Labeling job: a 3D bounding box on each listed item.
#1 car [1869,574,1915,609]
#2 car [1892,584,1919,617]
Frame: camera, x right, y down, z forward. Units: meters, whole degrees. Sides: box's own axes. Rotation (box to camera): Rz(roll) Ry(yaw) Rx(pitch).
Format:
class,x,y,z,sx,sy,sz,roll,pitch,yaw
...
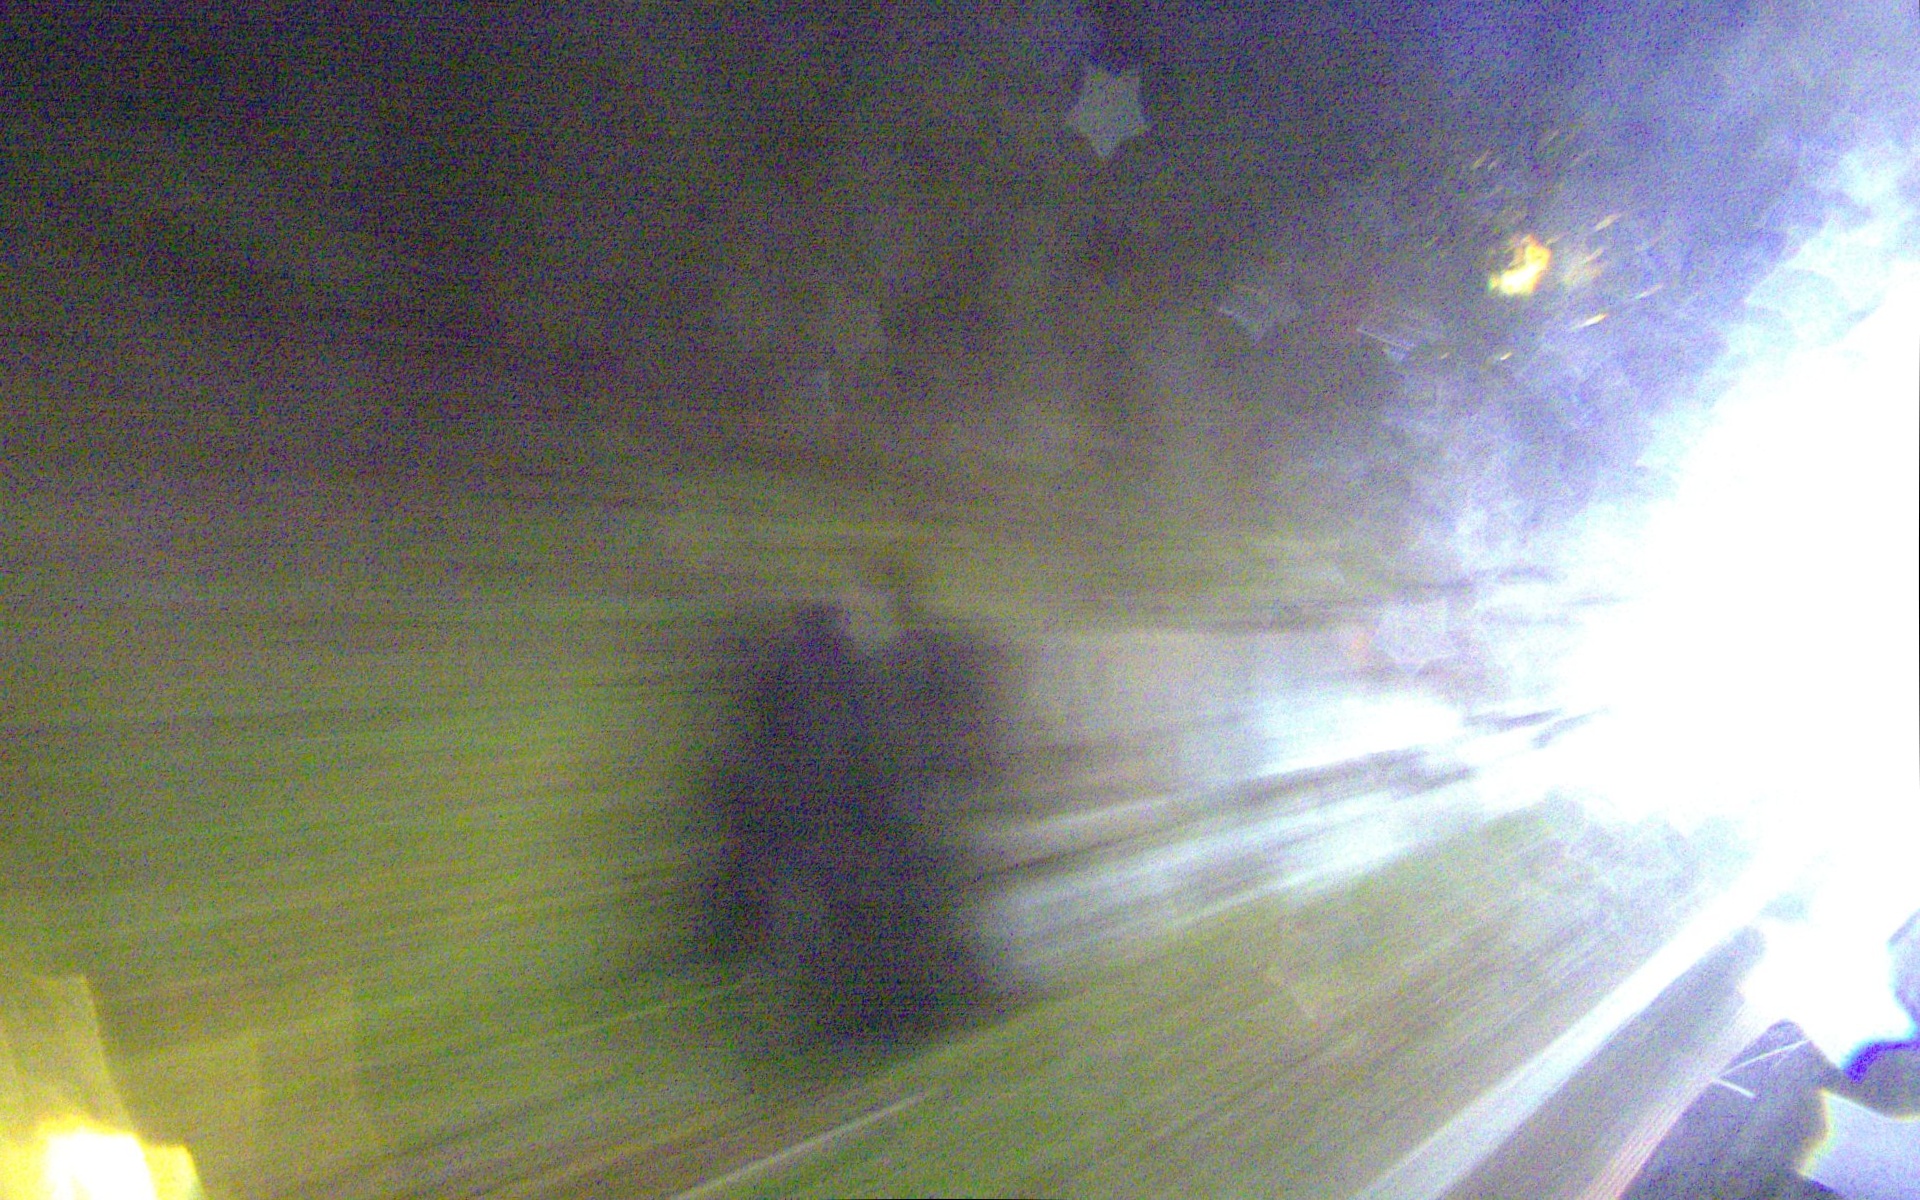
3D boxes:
class,x,y,z,sx,sy,sz,roll,pitch,yaw
car,57.908,-0.539,62.955,1.992,2.039,3.940,2,2,42
car,47.464,-0.005,49.814,1.990,1.482,3.945,1,3,39
